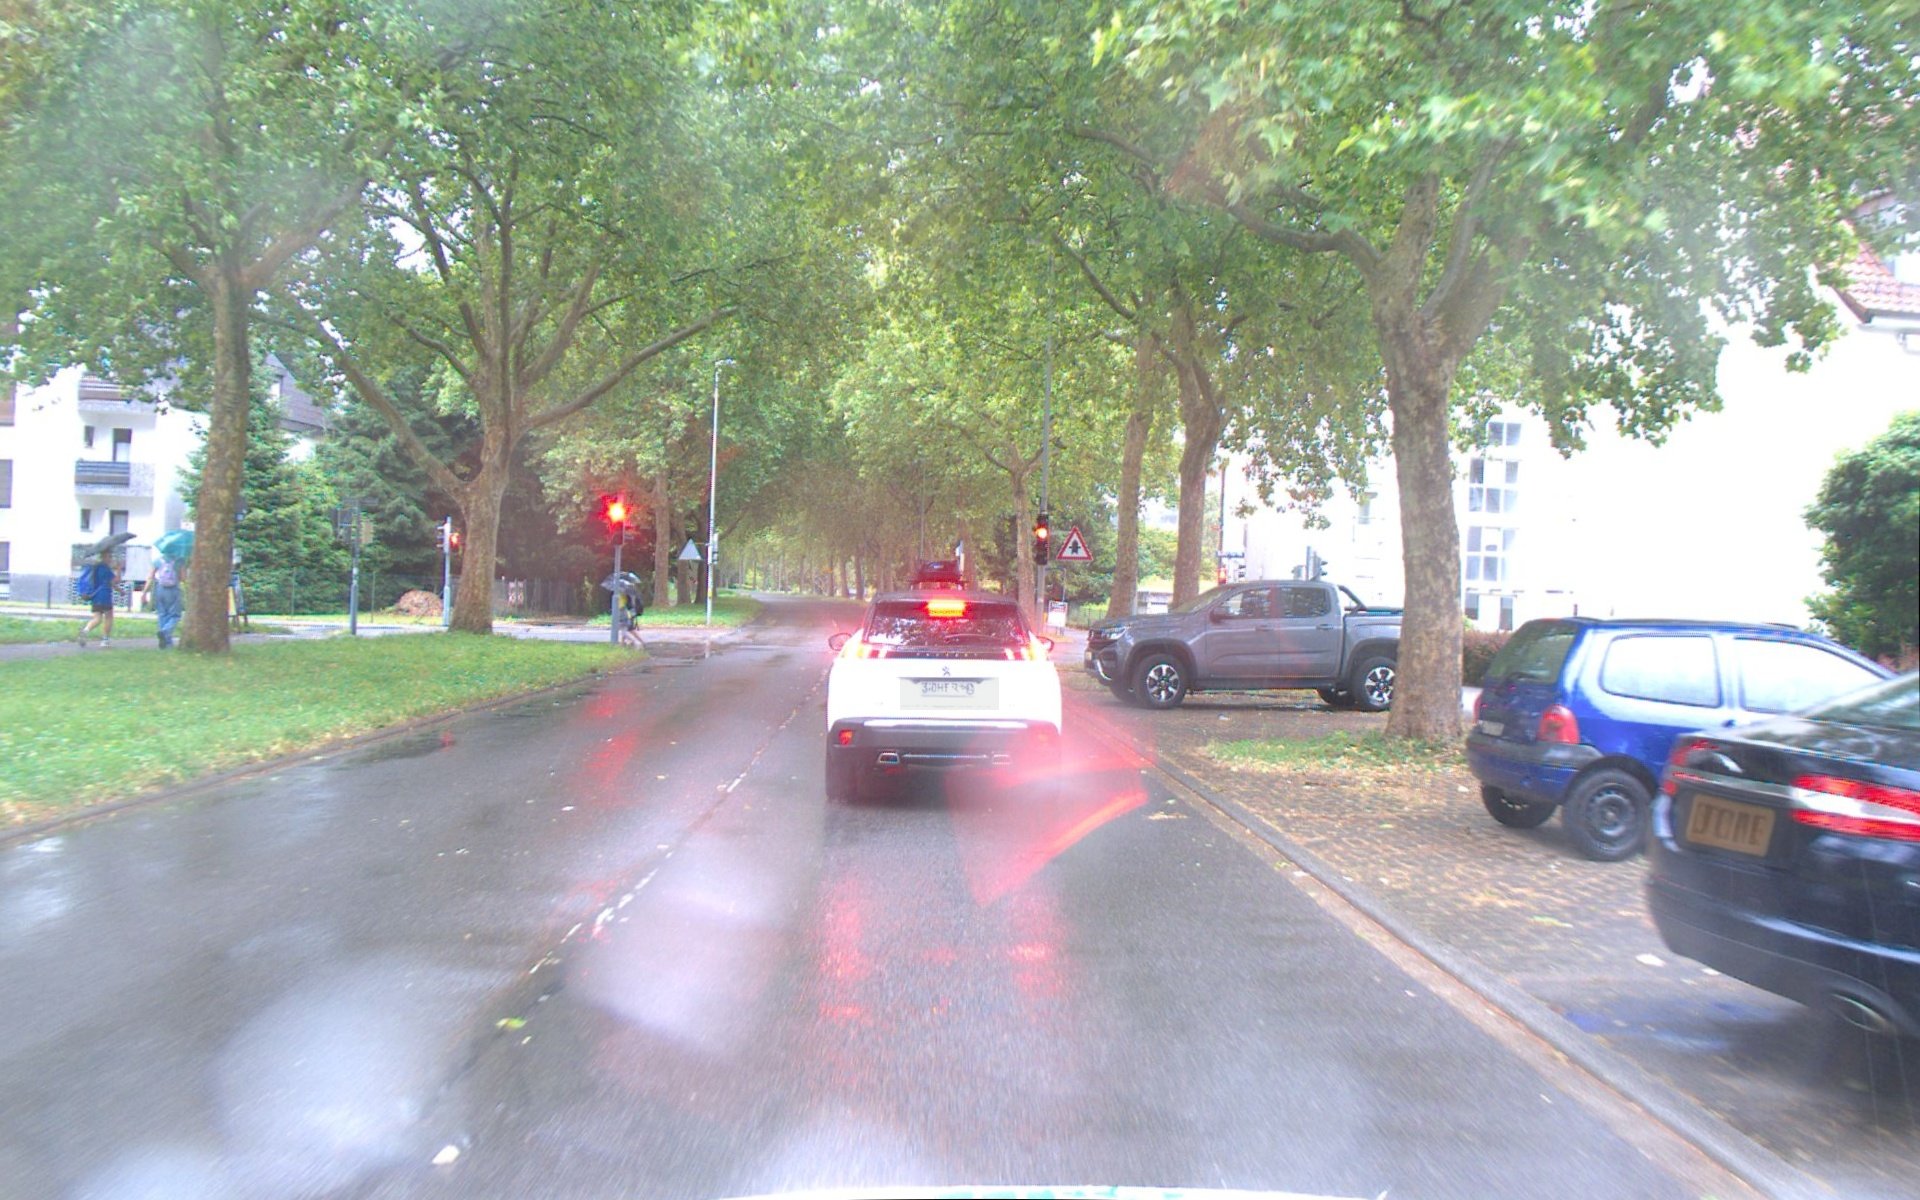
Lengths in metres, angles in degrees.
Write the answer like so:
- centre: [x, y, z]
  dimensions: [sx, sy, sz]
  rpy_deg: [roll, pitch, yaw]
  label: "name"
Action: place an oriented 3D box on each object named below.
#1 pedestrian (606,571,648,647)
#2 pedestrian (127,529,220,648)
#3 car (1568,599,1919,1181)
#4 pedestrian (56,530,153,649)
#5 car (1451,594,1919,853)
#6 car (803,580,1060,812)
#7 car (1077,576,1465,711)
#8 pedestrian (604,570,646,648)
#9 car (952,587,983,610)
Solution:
- centre: [-7.926, 0.217, 39.397]
  dimensions: [0.842, 1.775, 0.639]
  rpy_deg: [2, 0, -4]
  label: "pedestrian"
- centre: [-12.222, -0.174, 25.714]
  dimensions: [1.012, 1.796, 0.838]
  rpy_deg: [1, 0, -1]
  label: "pedestrian"
- centre: [4.719, 0.794, 5.527]
  dimensions: [4.674, 1.498, 1.935]
  rpy_deg: [1, 0, -6]
  label: "car"
- centre: [-13.307, -0.166, 25.758]
  dimensions: [1.012, 1.796, 0.879]
  rpy_deg: [1, 0, -1]
  label: "pedestrian"
- centre: [5.095, 0.754, 10.742]
  dimensions: [3.288, 1.489, 1.618]
  rpy_deg: [2, 0, -2]
  label: "car"
- centre: [-0.226, 0.648, 13.453]
  dimensions: [1.744, 1.563, 4.057]
  rpy_deg: [1, 0, -1]
  label: "car"
- centre: [4.458, 0.616, 24.039]
  dimensions: [5.238, 1.838, 1.842]
  rpy_deg: [1, 0, -8]
  label: "car"
- centre: [-7.797, 0.197, 38.490]
  dimensions: [0.804, 1.775, 0.639]
  rpy_deg: [2, 0, -4]
  label: "pedestrian"
- centre: [0.524, -0.129, 119.816]
  dimensions: [1.868, 1.536, 3.928]
  rpy_deg: [1, 0, -4]
  label: "car"
